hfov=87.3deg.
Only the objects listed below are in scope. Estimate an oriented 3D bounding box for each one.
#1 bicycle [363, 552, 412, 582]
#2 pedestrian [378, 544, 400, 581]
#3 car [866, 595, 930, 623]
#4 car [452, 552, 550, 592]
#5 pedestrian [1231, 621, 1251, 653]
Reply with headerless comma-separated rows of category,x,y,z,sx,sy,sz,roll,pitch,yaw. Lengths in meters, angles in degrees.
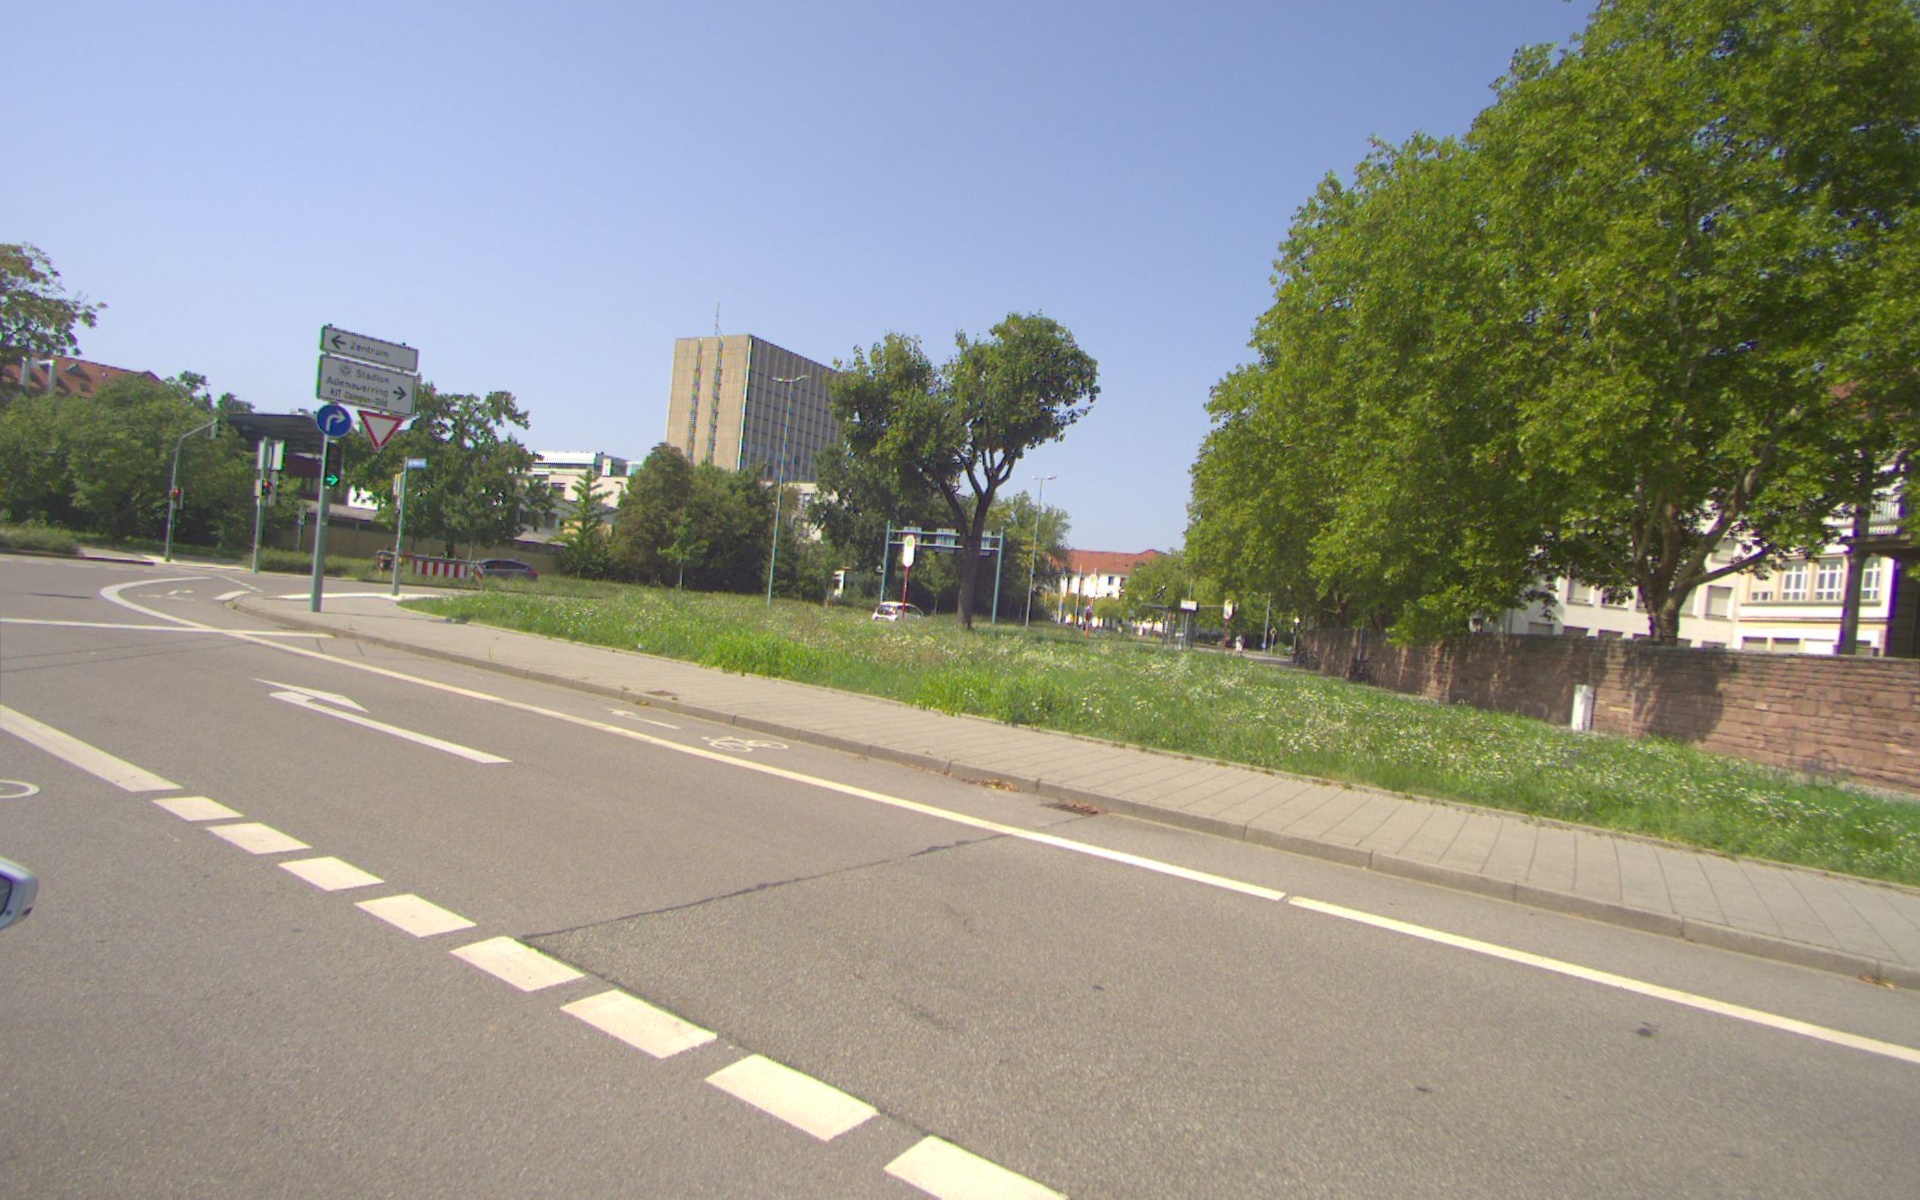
bicycle,-27.487,-1.587,48.315,0.774,1.228,1.782,6,0,36
pedestrian,-27.426,-1.822,48.350,0.769,1.690,0.547,6,1,37
car,-3.237,0.498,52.700,1.566,1.151,3.252,7,1,36
car,-20.018,-1.213,43.932,1.764,1.374,3.412,4,-1,35
pedestrian,19.278,2.547,69.110,1.052,2.039,1.235,6,1,13
